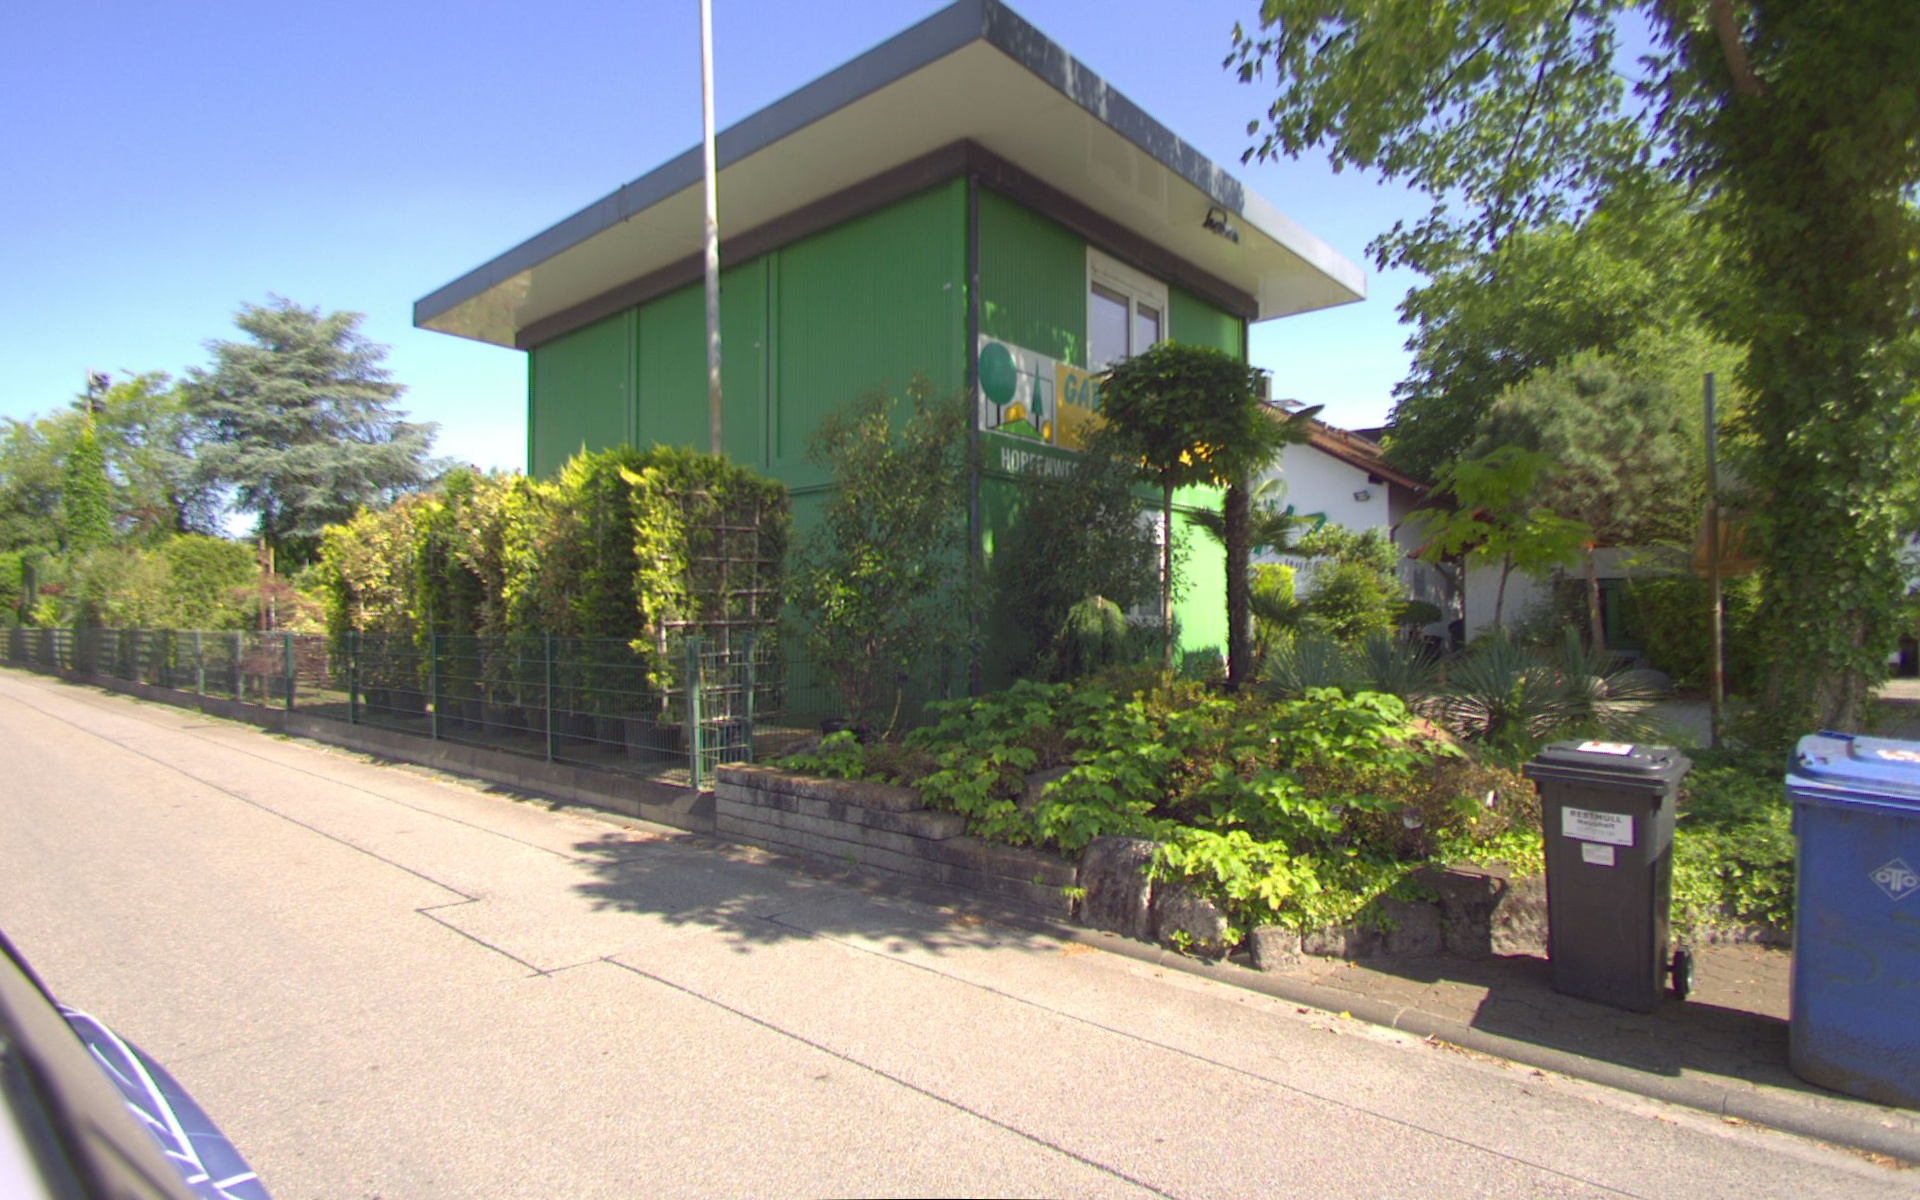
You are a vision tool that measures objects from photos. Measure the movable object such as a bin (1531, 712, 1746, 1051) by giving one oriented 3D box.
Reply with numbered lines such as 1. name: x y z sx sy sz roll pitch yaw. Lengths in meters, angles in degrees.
1. movable object such as a bin: 2.517 0.974 3.750 0.568 1.032 0.576 -2 -1 42

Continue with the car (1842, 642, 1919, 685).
1. car: 33.625 2.255 36.900 3.940 1.453 1.904 2 -3 -44

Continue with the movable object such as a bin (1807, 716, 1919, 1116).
1. movable object such as a bin: 3.034 0.939 3.116 0.612 1.062 0.723 -2 -1 42
